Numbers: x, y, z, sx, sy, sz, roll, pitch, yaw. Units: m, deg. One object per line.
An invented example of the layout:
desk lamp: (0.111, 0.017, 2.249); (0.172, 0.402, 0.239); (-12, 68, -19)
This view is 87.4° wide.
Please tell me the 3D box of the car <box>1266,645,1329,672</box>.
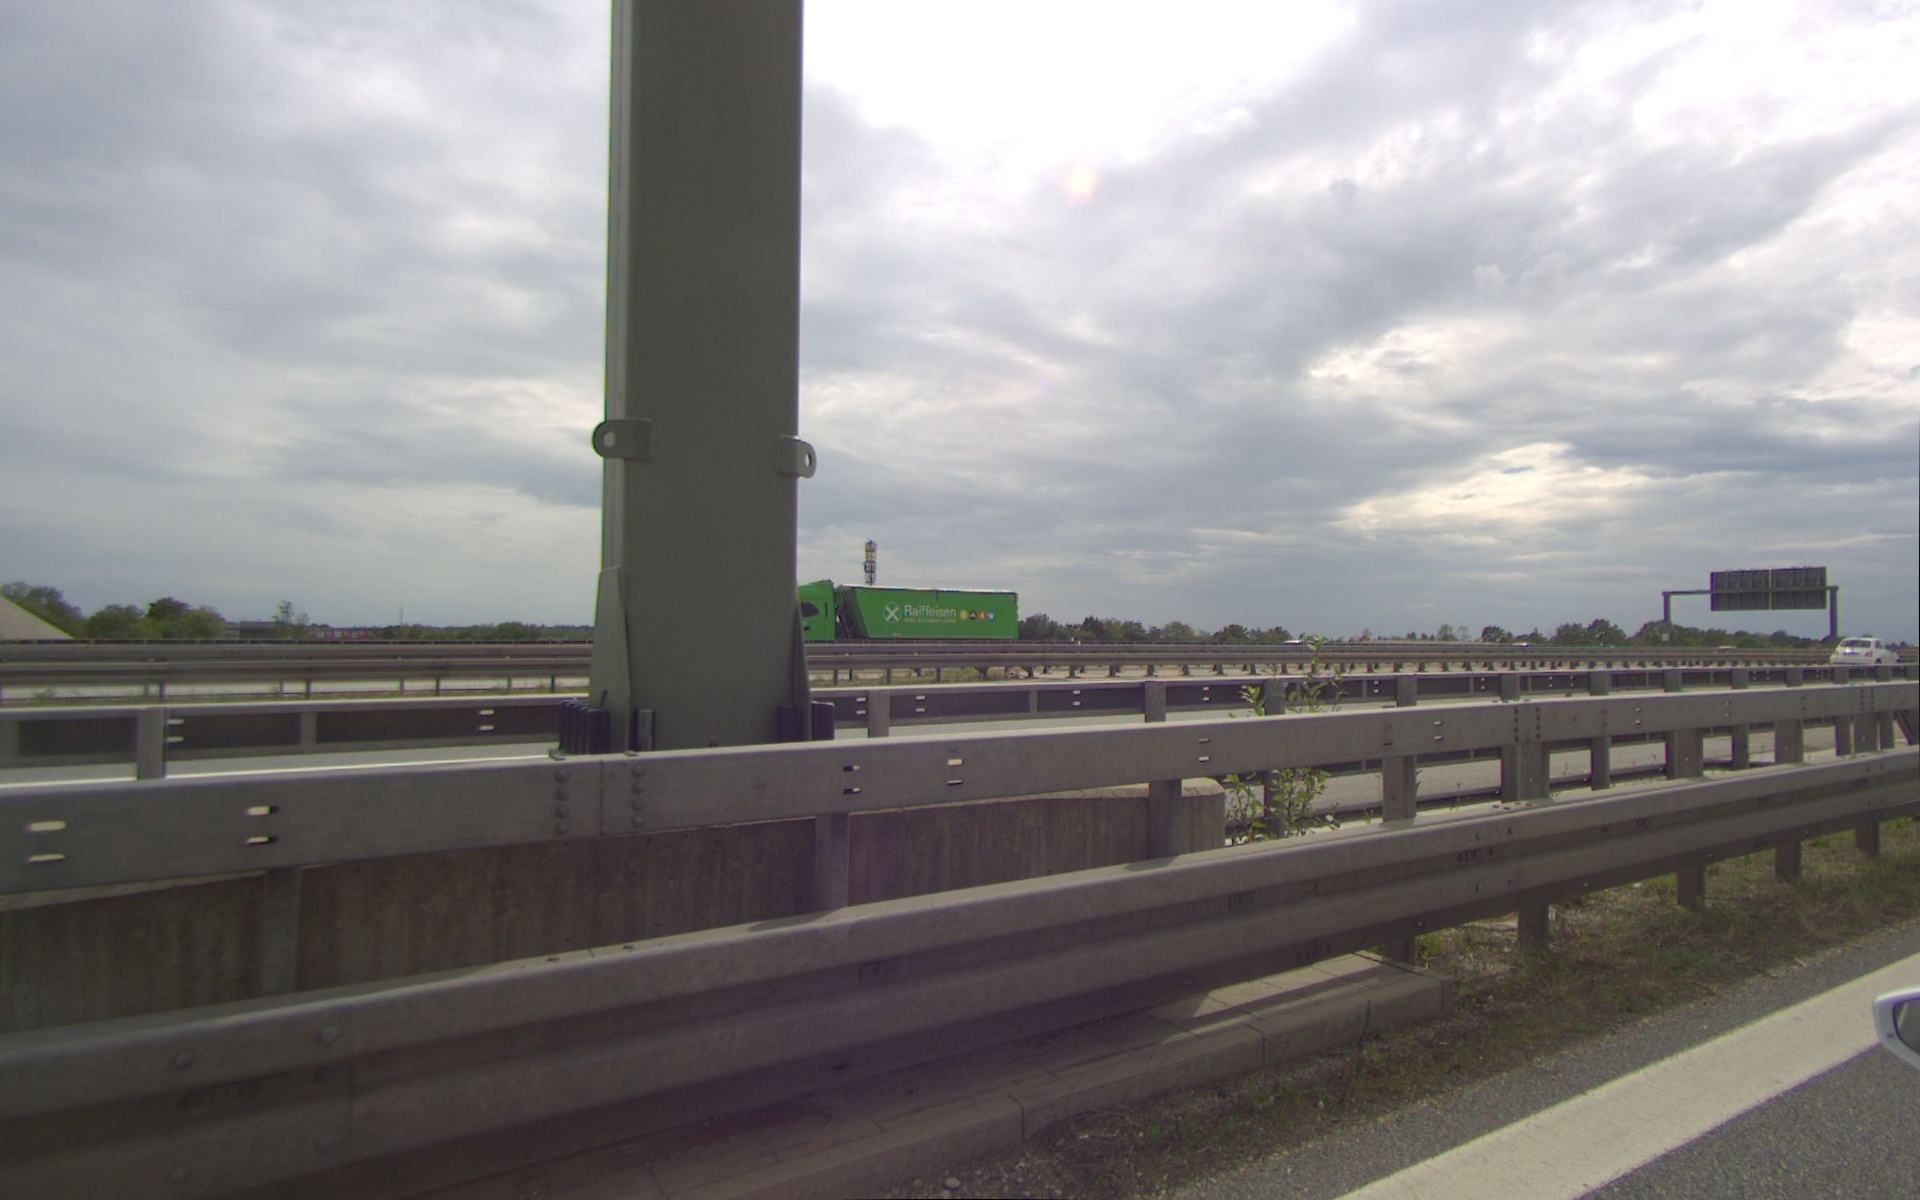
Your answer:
car: (21.925, 3.800, 65.247); (3.953, 1.650, 1.721); (2, -1, -30)

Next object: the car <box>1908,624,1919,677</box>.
car: (39.205, 1.992, 39.301); (4.324, 2.040, 1.984); (2, 0, -31)

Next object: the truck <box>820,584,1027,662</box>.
truck: (-1.701, 1.189, 50.990); (10.318, 3.683, 2.997); (2, 0, -31)

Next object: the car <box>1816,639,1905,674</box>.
car: (40.228, 2.486, 44.854); (3.952, 1.438, 1.790); (2, -1, -29)

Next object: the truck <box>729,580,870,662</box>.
truck: (-7.541, 1.011, 47.372); (5.828, 3.656, 3.026); (2, -1, -31)
